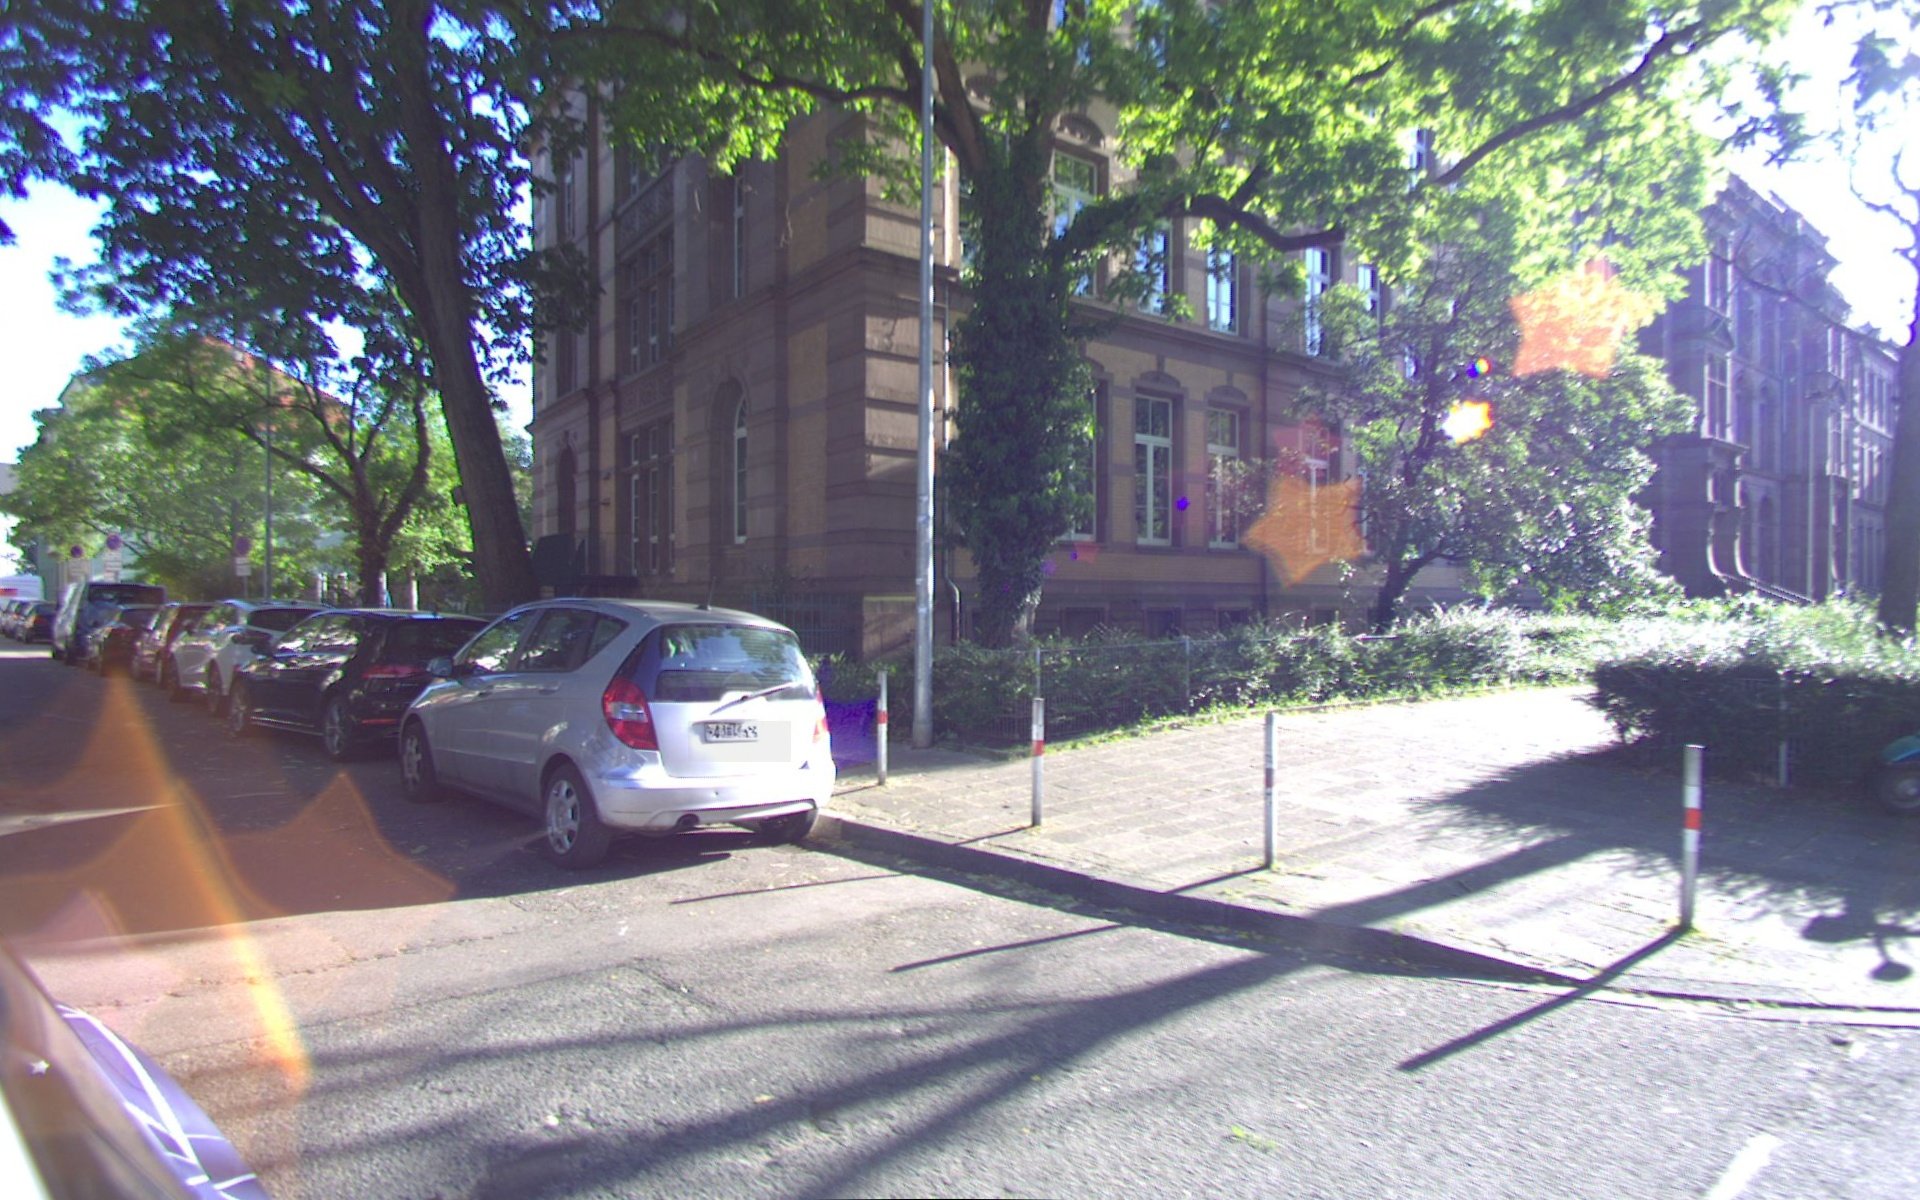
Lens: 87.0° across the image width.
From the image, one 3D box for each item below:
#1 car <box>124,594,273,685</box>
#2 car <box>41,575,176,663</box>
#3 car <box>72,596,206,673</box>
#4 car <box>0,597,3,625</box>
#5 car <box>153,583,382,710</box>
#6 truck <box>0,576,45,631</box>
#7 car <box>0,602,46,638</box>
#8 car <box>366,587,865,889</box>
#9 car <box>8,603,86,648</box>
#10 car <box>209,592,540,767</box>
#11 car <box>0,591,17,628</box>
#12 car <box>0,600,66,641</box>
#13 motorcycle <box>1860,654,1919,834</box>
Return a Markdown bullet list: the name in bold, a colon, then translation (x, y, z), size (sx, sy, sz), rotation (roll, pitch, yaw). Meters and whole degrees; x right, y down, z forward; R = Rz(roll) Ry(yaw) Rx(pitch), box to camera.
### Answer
- **car**: translation (-13.680, 0.657, 18.128), size (3.311, 1.475, 1.602), rotation (0, -1, 44)
- **car**: translation (-21.156, 0.459, 25.065), size (5.044, 1.972, 1.971), rotation (0, -2, 44)
- **car**: translation (-17.310, 0.686, 21.281), size (3.845, 1.475, 1.707), rotation (0, -1, 44)
- **car**: translation (-63.651, 0.724, 65.819), size (4.190, 1.815, 1.784), rotation (0, 0, 43)
- **car**: translation (-9.867, 0.618, 14.314), size (4.000, 1.545, 1.769), rotation (0, -3, 43)
- **truck**: translation (-49.026, 0.165, 51.950), size (7.092, 2.677, 2.363), rotation (0, 0, 42)
- **car**: translation (-40.762, 0.835, 43.620), size (4.209, 1.469, 1.763), rotation (0, 0, 44)
- **car**: translation (-2.644, 0.742, 7.246), size (3.953, 1.570, 1.687), rotation (1, -3, 43)
- **car**: translation (-31.708, 0.853, 35.115), size (4.001, 1.475, 1.715), rotation (0, 0, 44)
- **car**: translation (-6.291, 0.733, 10.720), size (3.994, 1.475, 1.566), rotation (1, -3, 38)
- **car**: translation (-55.929, 0.543, 58.224), size (4.809, 2.029, 2.117), rotation (0, 0, 43)
- **car**: translation (-36.285, 0.751, 39.525), size (4.001, 1.484, 1.731), rotation (0, 1, 44)
- **motorcycle**: translation (6.681, 0.925, 6.030), size (0.535, 1.110, 1.900), rotation (0, 0, -37)
